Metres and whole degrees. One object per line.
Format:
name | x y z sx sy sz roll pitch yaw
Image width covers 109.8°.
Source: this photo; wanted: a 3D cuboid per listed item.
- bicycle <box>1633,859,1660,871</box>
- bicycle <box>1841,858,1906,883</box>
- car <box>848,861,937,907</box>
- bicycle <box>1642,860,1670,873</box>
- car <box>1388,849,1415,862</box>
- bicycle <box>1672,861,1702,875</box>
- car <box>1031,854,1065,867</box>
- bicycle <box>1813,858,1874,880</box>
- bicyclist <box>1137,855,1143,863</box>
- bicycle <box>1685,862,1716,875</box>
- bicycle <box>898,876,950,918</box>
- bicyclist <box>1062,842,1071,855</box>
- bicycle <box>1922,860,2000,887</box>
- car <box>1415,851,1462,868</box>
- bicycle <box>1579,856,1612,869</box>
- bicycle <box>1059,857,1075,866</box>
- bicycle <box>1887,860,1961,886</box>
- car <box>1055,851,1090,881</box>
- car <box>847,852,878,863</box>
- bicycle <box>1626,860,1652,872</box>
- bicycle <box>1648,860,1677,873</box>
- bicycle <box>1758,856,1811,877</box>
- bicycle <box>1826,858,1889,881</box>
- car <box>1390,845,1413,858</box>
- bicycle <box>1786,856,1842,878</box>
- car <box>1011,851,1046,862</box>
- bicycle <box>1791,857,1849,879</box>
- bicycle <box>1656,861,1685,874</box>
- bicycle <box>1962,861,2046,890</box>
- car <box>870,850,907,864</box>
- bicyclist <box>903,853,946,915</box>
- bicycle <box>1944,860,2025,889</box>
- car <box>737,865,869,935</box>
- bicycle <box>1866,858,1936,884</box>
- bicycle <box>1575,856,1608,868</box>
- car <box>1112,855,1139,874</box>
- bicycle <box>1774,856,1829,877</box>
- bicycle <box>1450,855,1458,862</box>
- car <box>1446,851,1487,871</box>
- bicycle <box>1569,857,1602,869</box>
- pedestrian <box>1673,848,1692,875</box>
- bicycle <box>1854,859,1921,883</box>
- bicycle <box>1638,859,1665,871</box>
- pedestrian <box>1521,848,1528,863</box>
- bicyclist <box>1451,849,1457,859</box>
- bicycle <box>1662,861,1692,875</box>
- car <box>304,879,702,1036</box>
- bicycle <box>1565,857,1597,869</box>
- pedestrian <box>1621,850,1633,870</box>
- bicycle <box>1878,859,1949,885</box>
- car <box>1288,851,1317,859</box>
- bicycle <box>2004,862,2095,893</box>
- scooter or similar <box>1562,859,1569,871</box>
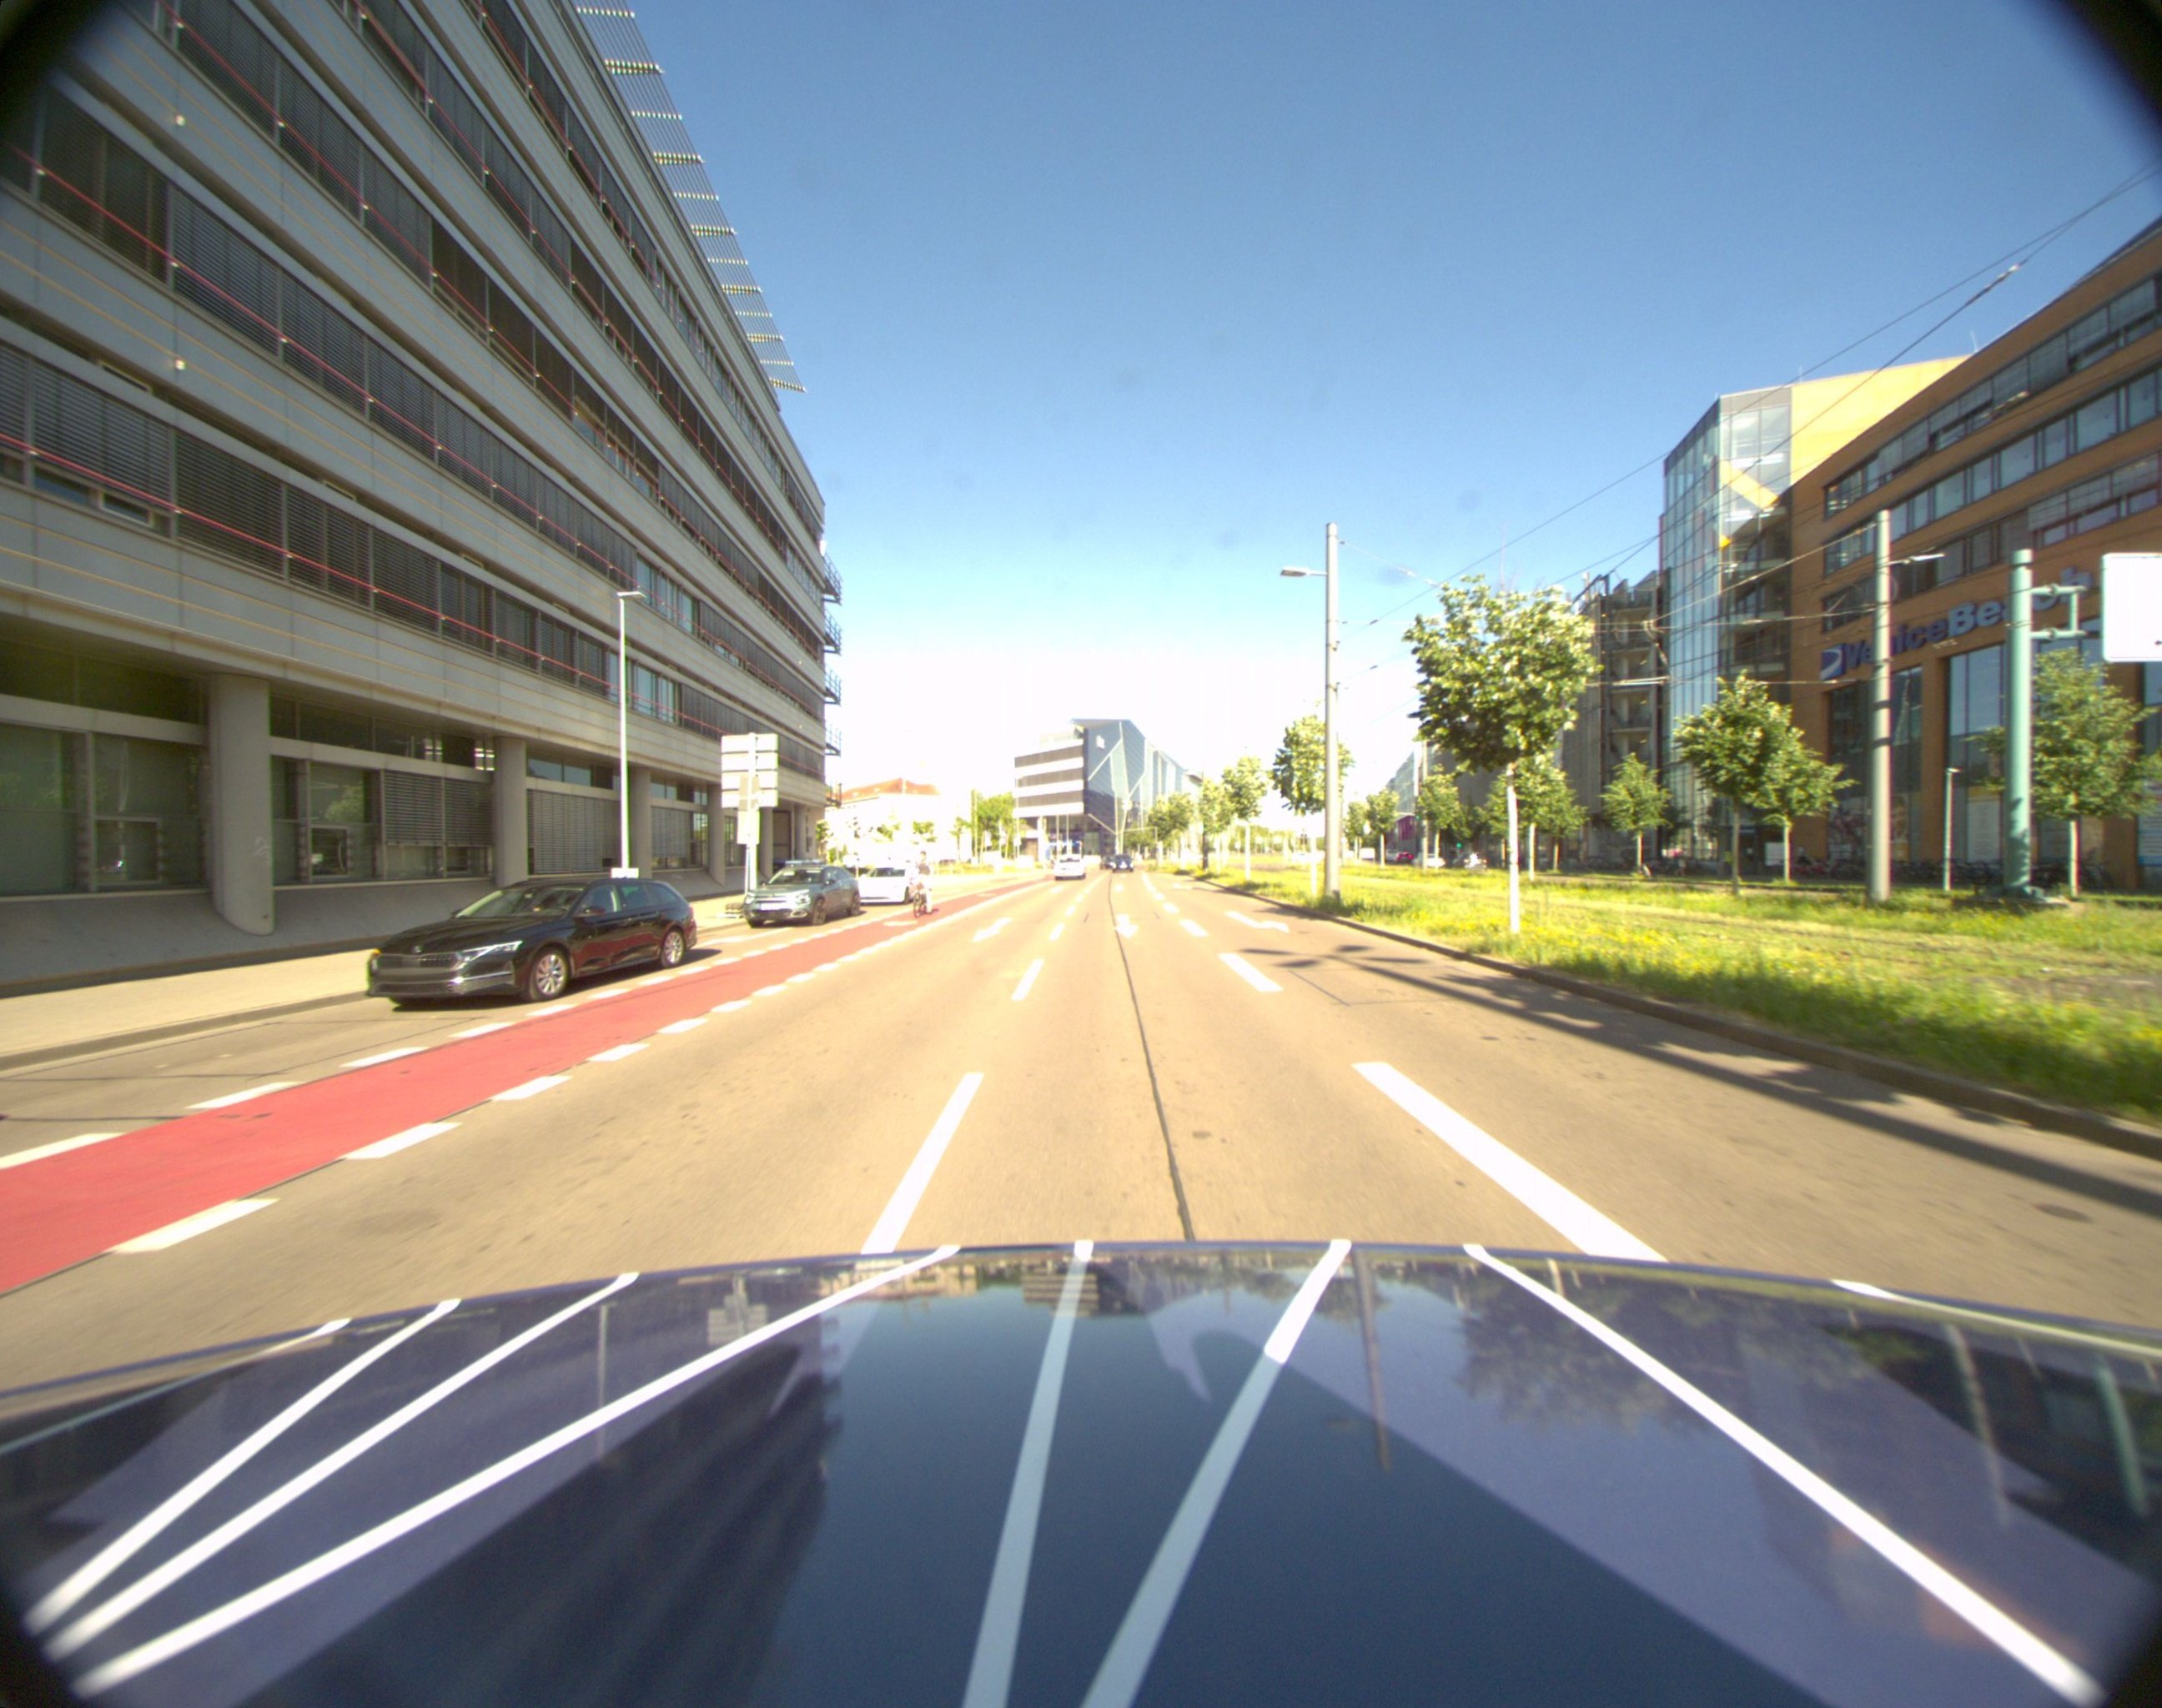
bicycle | 39.850 0.793 53.530 1.449 0.814 0.446 -2 1 11
bicycle | 38.836 0.802 37.273 2.177 1.117 0.754 -2 1 11
car | -6.665 1.020 27.331 1.776 1.395 4.294 -3 0 4
bicycle | 39.147 0.857 51.756 1.449 0.814 0.446 -2 1 11
car | 41.920 0.137 99.475 1.997 1.671 4.540 0 0 7
bicycle | 38.452 0.903 48.213 1.449 0.814 0.446 -2 1 11
car | -4.231 0.858 97.364 3.992 1.547 1.877 0 1 16
bicycle | 39.390 0.773 39.252 2.177 1.117 0.754 -2 1 11
bicyclist | 9.759 0.831 125.885 0.760 1.402 0.773 0 1 28
bicycle | 38.502 0.902 47.260 1.449 0.814 0.446 -2 1 11
bicycle | -4.339 1.174 21.145 0.827 1.031 1.892 -2 0 7
bicyclist | -1.610 -0.586 84.999 0.825 1.395 0.590 1 0 16
bicycle | 37.589 0.834 32.471 2.177 1.117 0.754 -2 1 11
car | 30.139 0.423 64.290 1.998 1.326 4.791 -1 0 4
bicycle | 41.124 0.669 60.757 2.177 0.949 0.493 -2 1 11
bicycle | -1.549 0.820 84.959 1.704 0.948 0.698 1 0 16
bicycle | 37.552 0.846 33.865 2.177 1.117 0.754 -2 1 11
car | -0.490 0.754 50.376 1.873 1.622 4.337 -1 4 5
car | -32.074 0.525 111.360 3.990 1.547 1.878 0 1 22
bicycle | 39.933 0.850 54.416 1.449 0.814 0.446 -2 1 11
bicycle | 38.930 0.862 50.871 1.449 0.814 0.446 -2 1 11
bicycle | 40.596 0.705 43.841 2.177 1.117 0.754 -2 1 11
bicycle | 39.091 0.768 38.283 2.177 1.117 0.754 -2 1 11
car | 49.318 -0.419 116.899 2.222 2.002 5.266 0 1 34
bicycle | 40.364 0.702 41.868 2.177 1.117 0.754 -2 1 11
car | -7.150 0.377 103.760 4.474 1.423 1.843 0 2 17
bicycle | 39.716 0.742 40.861 2.177 1.117 0.754 -2 1 11
bicycle | 38.650 0.899 49.784 1.449 0.814 0.446 -2 1 11
bicycle | 37.093 0.856 30.566 2.177 1.117 0.754 -2 1 11
car | -26.808 0.387 105.747 4.644 1.970 1.878 0 1 21
bicyclist | -4.377 0.821 21.313 0.808 1.683 1.052 -2 1 7
bicycle | 37.398 0.853 31.468 2.177 1.117 0.754 -2 1 11
car | -7.175 1.121 20.101 1.725 1.515 4.399 -1 0 2
bicycle | 38.344 0.798 35.553 2.177 1.117 0.754 -2 1 11
bicycle | 41.264 0.655 61.459 2.177 0.949 0.493 -2 1 11
car | 3.899 0.917 65.539 1.872 1.547 4.003 0 1 10
bicycle | 40.665 0.716 42.888 2.177 1.117 0.754 -2 1 11
bicycle | 51.673 0.587 105.315 0.597 1.004 2.572 0 1 18
car | 27.831 0.477 54.921 1.431 1.351 3.296 -1 0 4
bicycle | 41.268 0.750 62.175 2.177 0.949 0.493 -2 1 11
pedestrian | 37.101 0.454 46.858 0.597 1.675 0.778 -1 1 3
bicycle | 38.582 0.809 36.383 2.177 1.117 0.754 -2 1 11
bicycle | 39.840 0.757 53.022 1.449 0.814 0.446 -2 1 11
pedestrian | 44.023 0.169 75.368 0.490 1.510 0.650 0 1 21
bicyclist | 51.607 -0.013 105.220 0.592 1.399 1.314 0 1 18
bicycle | 38.557 0.906 49.169 1.449 0.814 0.446 -2 1 11
car | -7.119 1.149 10.162 1.726 1.414 4.637 -1 0 0
bicycle | 41.318 0.744 62.791 2.177 0.949 0.493 -2 1 11
pedestrian | 42.385 0.464 59.014 0.636 1.544 0.662 0 1 22
bicycle | 37.959 0.831 34.664 2.177 1.117 0.754 -2 1 11
car | 33.271 0.127 114.247 3.990 1.084 2.003 0 0 22
bicycle | 36.660 0.882 28.794 2.177 1.117 0.754 -2 1 11
scooter or similar | 44.224 0.983 69.335 0.276 1.096 1.207 0 2 19
